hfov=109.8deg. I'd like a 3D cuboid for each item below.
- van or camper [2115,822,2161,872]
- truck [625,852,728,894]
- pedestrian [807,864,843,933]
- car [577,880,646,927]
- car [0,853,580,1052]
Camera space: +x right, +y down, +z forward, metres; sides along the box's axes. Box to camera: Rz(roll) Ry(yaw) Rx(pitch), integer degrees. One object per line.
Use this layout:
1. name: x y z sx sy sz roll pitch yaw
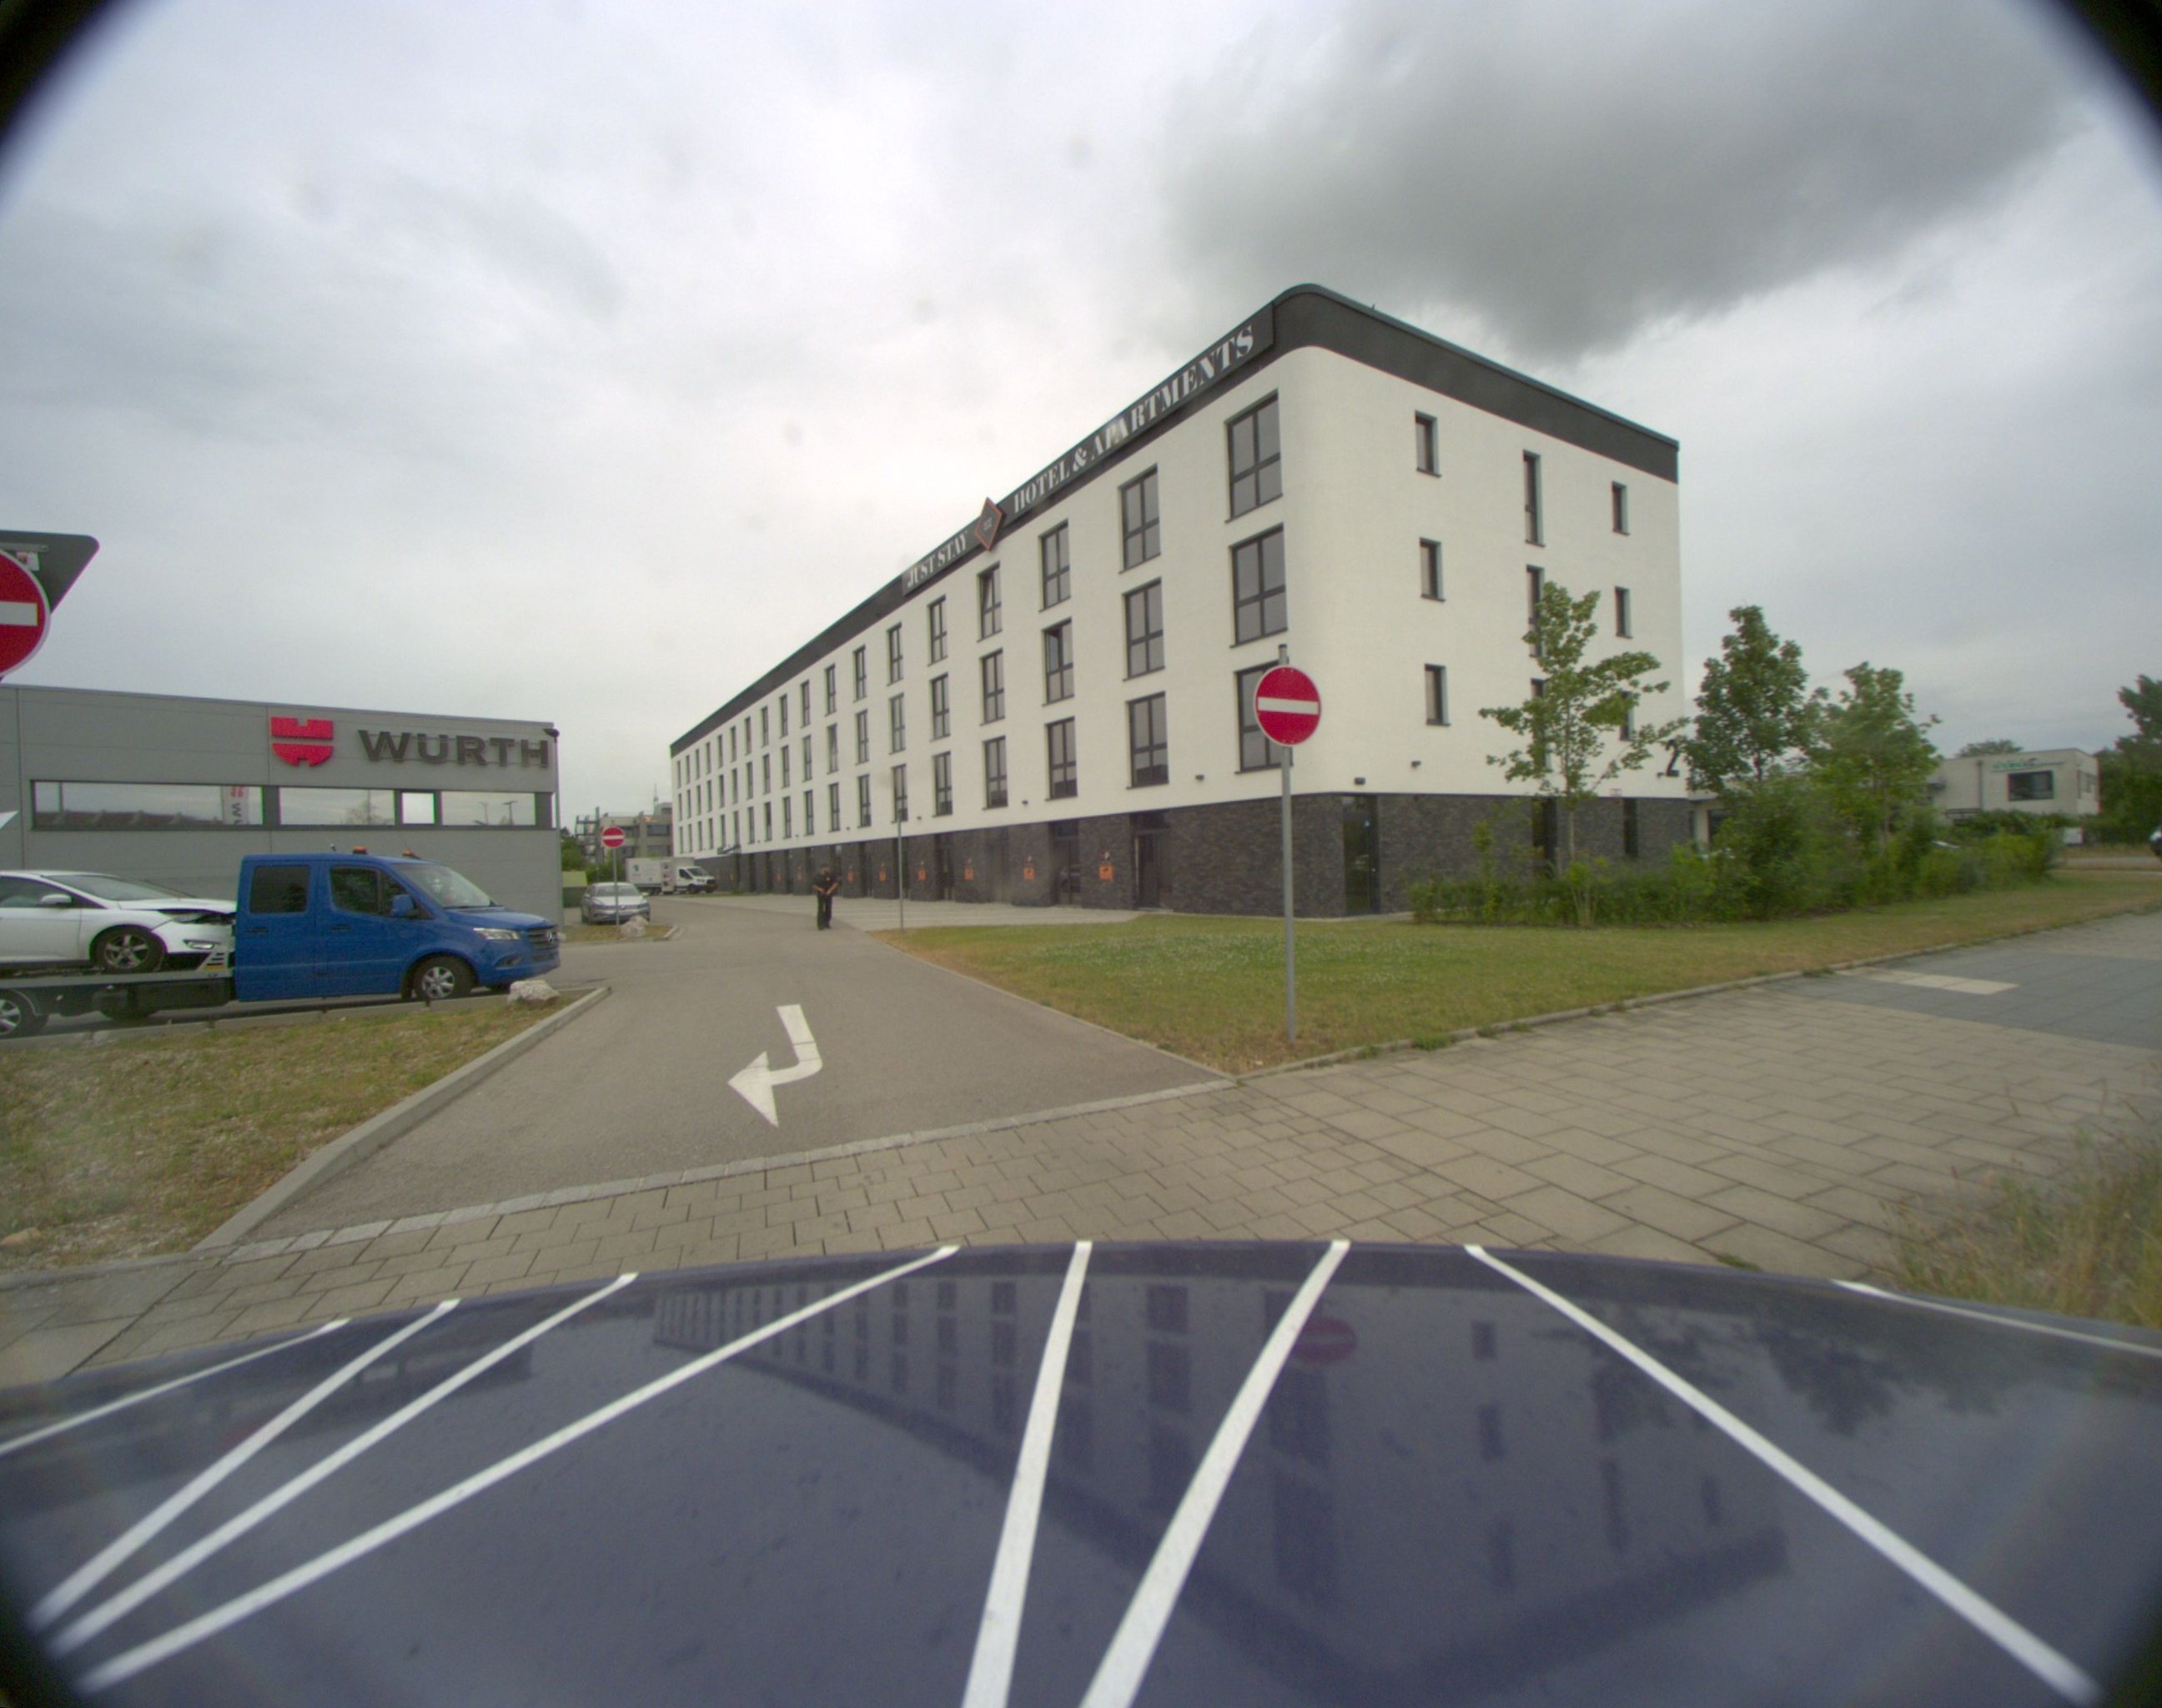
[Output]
1. van or camper: 59.741 -0.450 40.778 5.460 2.567 2.000 -2 1 4
2. truck: -31.232 1.464 58.756 7.057 2.999 2.439 -2 1 13
3. pedestrian: -6.914 1.185 20.527 0.711 1.811 0.811 -2 0 -32
4. car: -17.078 1.741 27.745 1.984 1.482 4.759 0 -1 -31
5. car: -12.006 1.240 10.732 7.861 2.309 2.198 -1 0 -16
